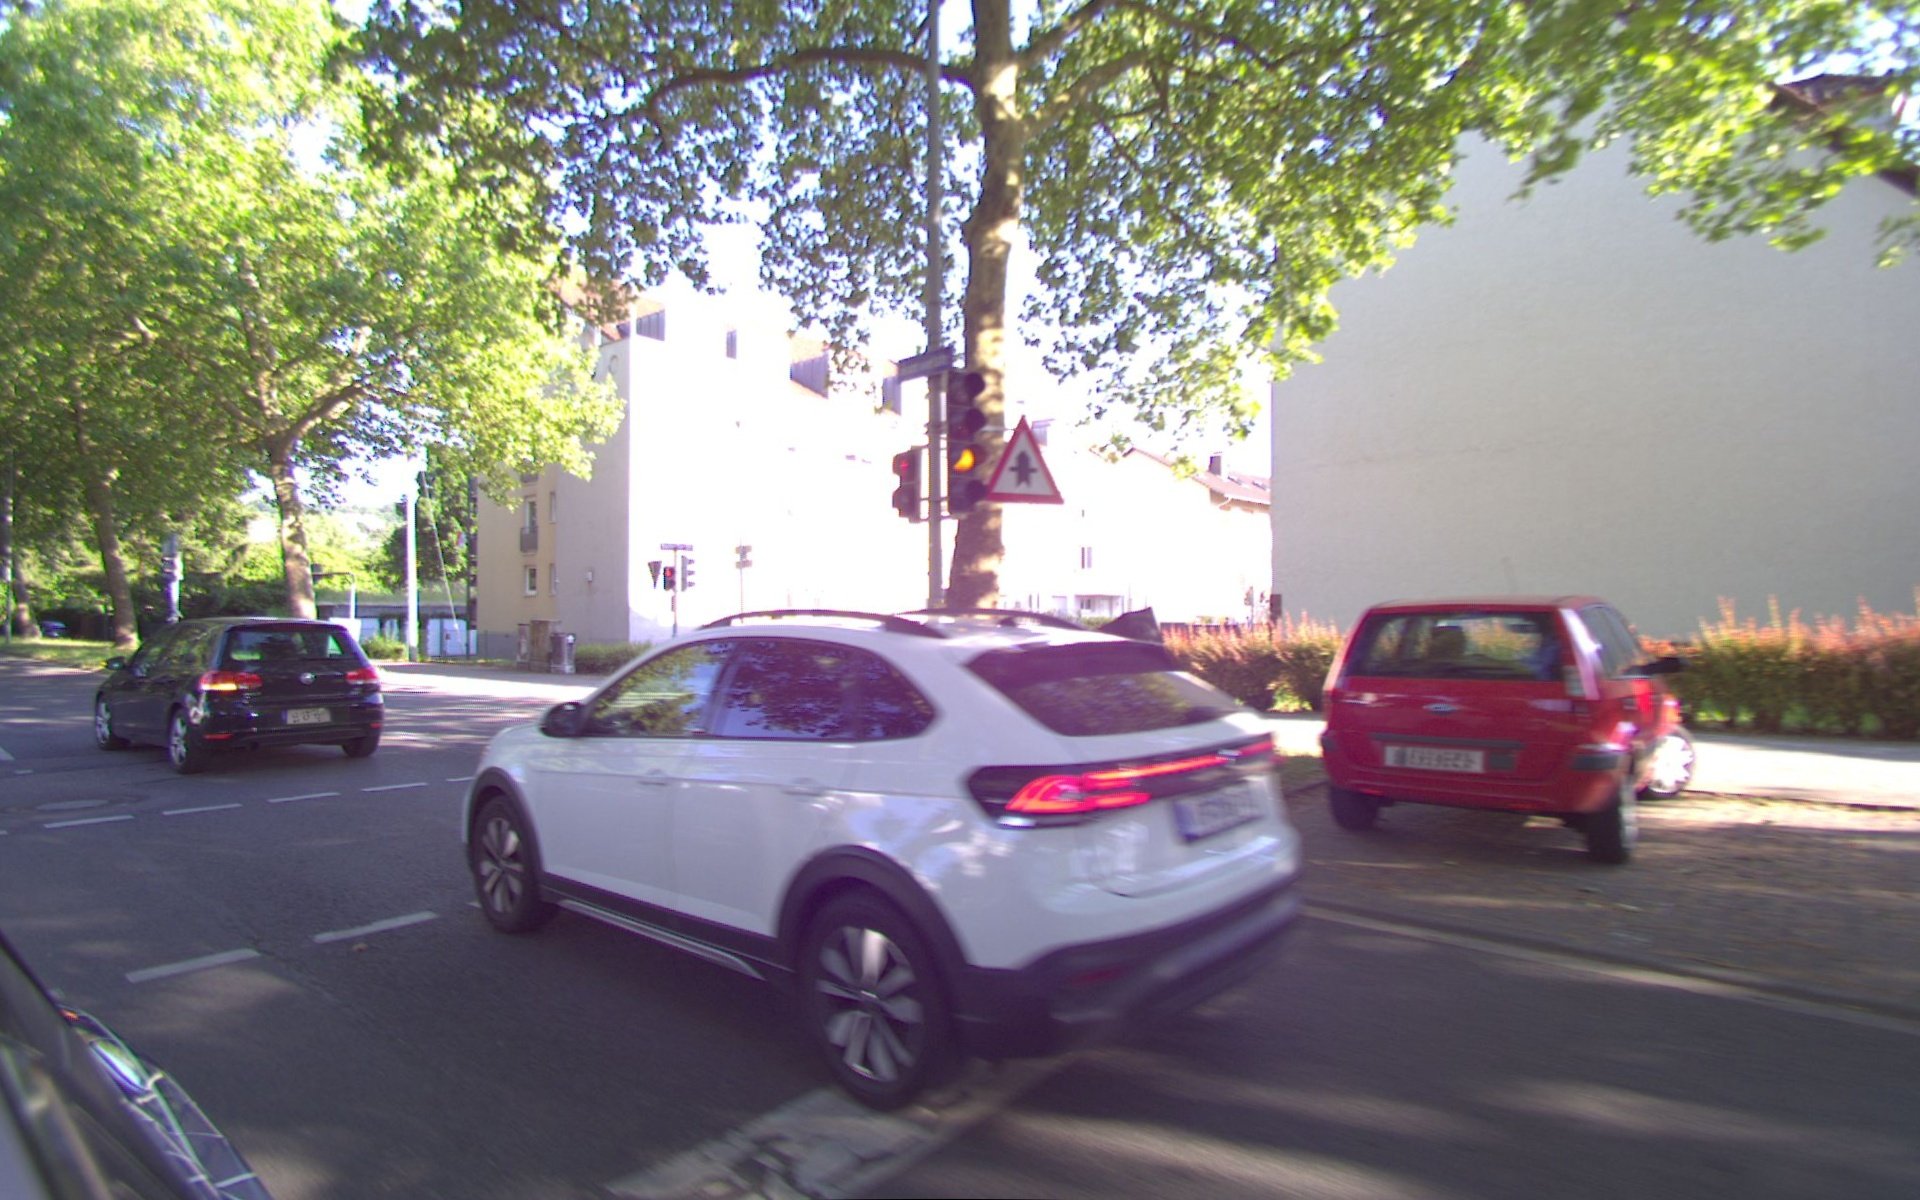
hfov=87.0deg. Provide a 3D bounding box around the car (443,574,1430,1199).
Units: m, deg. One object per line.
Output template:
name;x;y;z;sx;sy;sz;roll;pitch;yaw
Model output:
car;-0.470;0.739;4.231;4.093;1.512;1.698;-1;-1;42

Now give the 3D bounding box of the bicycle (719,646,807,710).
bicycle;-3.599;1.389;18.363;0.503;1.049;2.154;1;-1;-44

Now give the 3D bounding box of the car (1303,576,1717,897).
car;3.945;0.679;6.934;1.830;1.546;3.727;-1;-1;39

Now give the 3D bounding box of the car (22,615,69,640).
car;-59.964;1.806;66.343;3.997;1.541;1.790;-1;-1;41

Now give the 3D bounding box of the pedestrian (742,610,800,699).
pedestrian;-3.404;0.957;18.185;0.503;1.543;1.035;2;0;-44

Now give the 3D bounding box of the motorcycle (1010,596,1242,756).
motorcycle;1.851;0.848;11.508;2.383;1.650;0.971;-3;-3;34

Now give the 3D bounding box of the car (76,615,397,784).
car;-7.801;0.913;10.791;4.063;1.475;1.709;-1;-2;38
